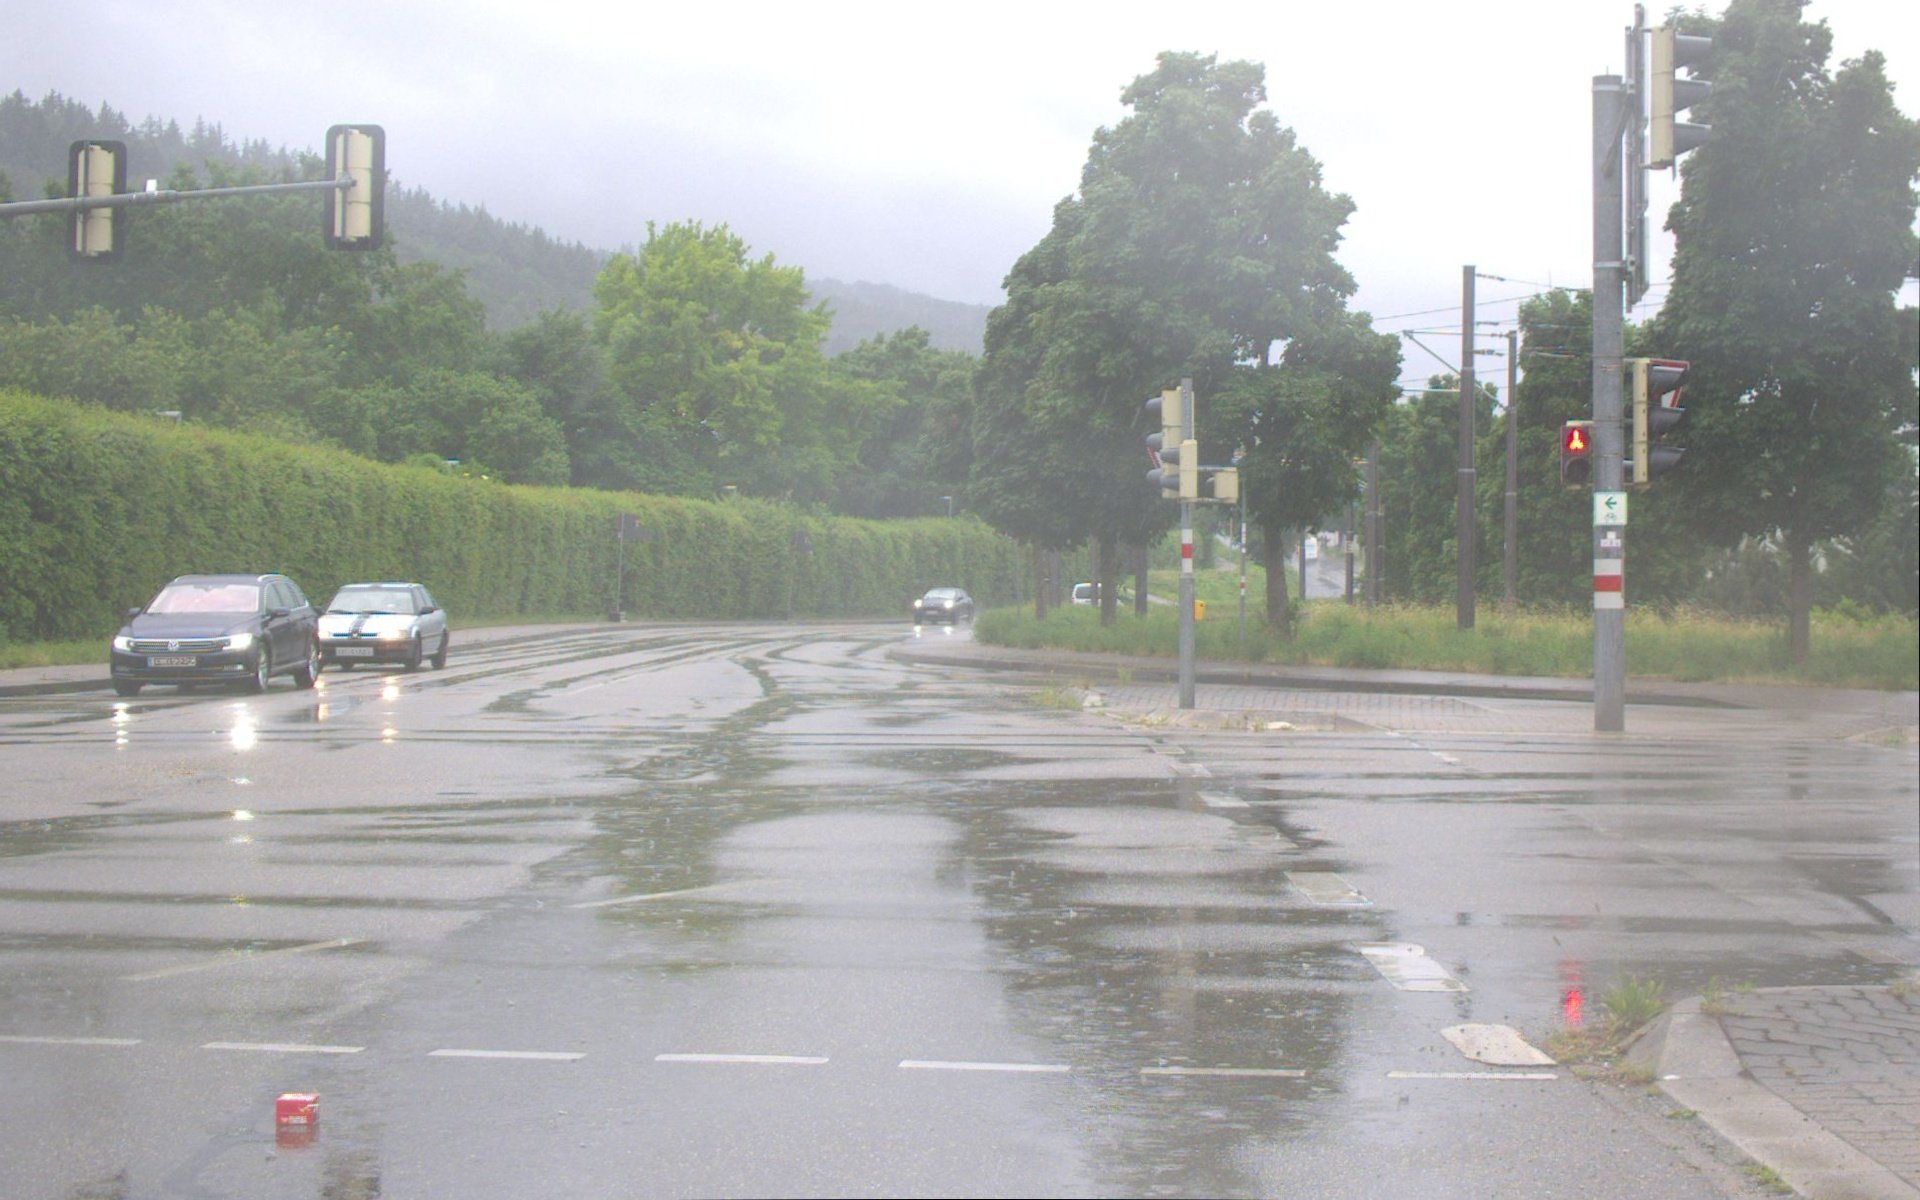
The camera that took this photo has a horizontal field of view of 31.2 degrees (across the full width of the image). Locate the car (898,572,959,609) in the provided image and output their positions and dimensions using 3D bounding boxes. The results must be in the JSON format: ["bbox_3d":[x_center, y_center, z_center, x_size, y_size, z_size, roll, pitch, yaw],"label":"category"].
[{"bbox_3d":[-1.300,-0.397,143.568,1.786,1.499,4.059,0,1,11],"label":"car"}]

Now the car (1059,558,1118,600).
[{"bbox_3d":[5.899,-0.976,156.981,1.954,1.897,4.118,0,1,13],"label":"car"}]

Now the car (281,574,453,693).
[{"bbox_3d":[-9.226,0.490,53.783,2.036,1.702,4.066,1,1,-1],"label":"car"}]

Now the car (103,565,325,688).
[{"bbox_3d":[-9.365,0.292,43.481,1.708,1.461,4.453,0,1,2],"label":"car"}]
